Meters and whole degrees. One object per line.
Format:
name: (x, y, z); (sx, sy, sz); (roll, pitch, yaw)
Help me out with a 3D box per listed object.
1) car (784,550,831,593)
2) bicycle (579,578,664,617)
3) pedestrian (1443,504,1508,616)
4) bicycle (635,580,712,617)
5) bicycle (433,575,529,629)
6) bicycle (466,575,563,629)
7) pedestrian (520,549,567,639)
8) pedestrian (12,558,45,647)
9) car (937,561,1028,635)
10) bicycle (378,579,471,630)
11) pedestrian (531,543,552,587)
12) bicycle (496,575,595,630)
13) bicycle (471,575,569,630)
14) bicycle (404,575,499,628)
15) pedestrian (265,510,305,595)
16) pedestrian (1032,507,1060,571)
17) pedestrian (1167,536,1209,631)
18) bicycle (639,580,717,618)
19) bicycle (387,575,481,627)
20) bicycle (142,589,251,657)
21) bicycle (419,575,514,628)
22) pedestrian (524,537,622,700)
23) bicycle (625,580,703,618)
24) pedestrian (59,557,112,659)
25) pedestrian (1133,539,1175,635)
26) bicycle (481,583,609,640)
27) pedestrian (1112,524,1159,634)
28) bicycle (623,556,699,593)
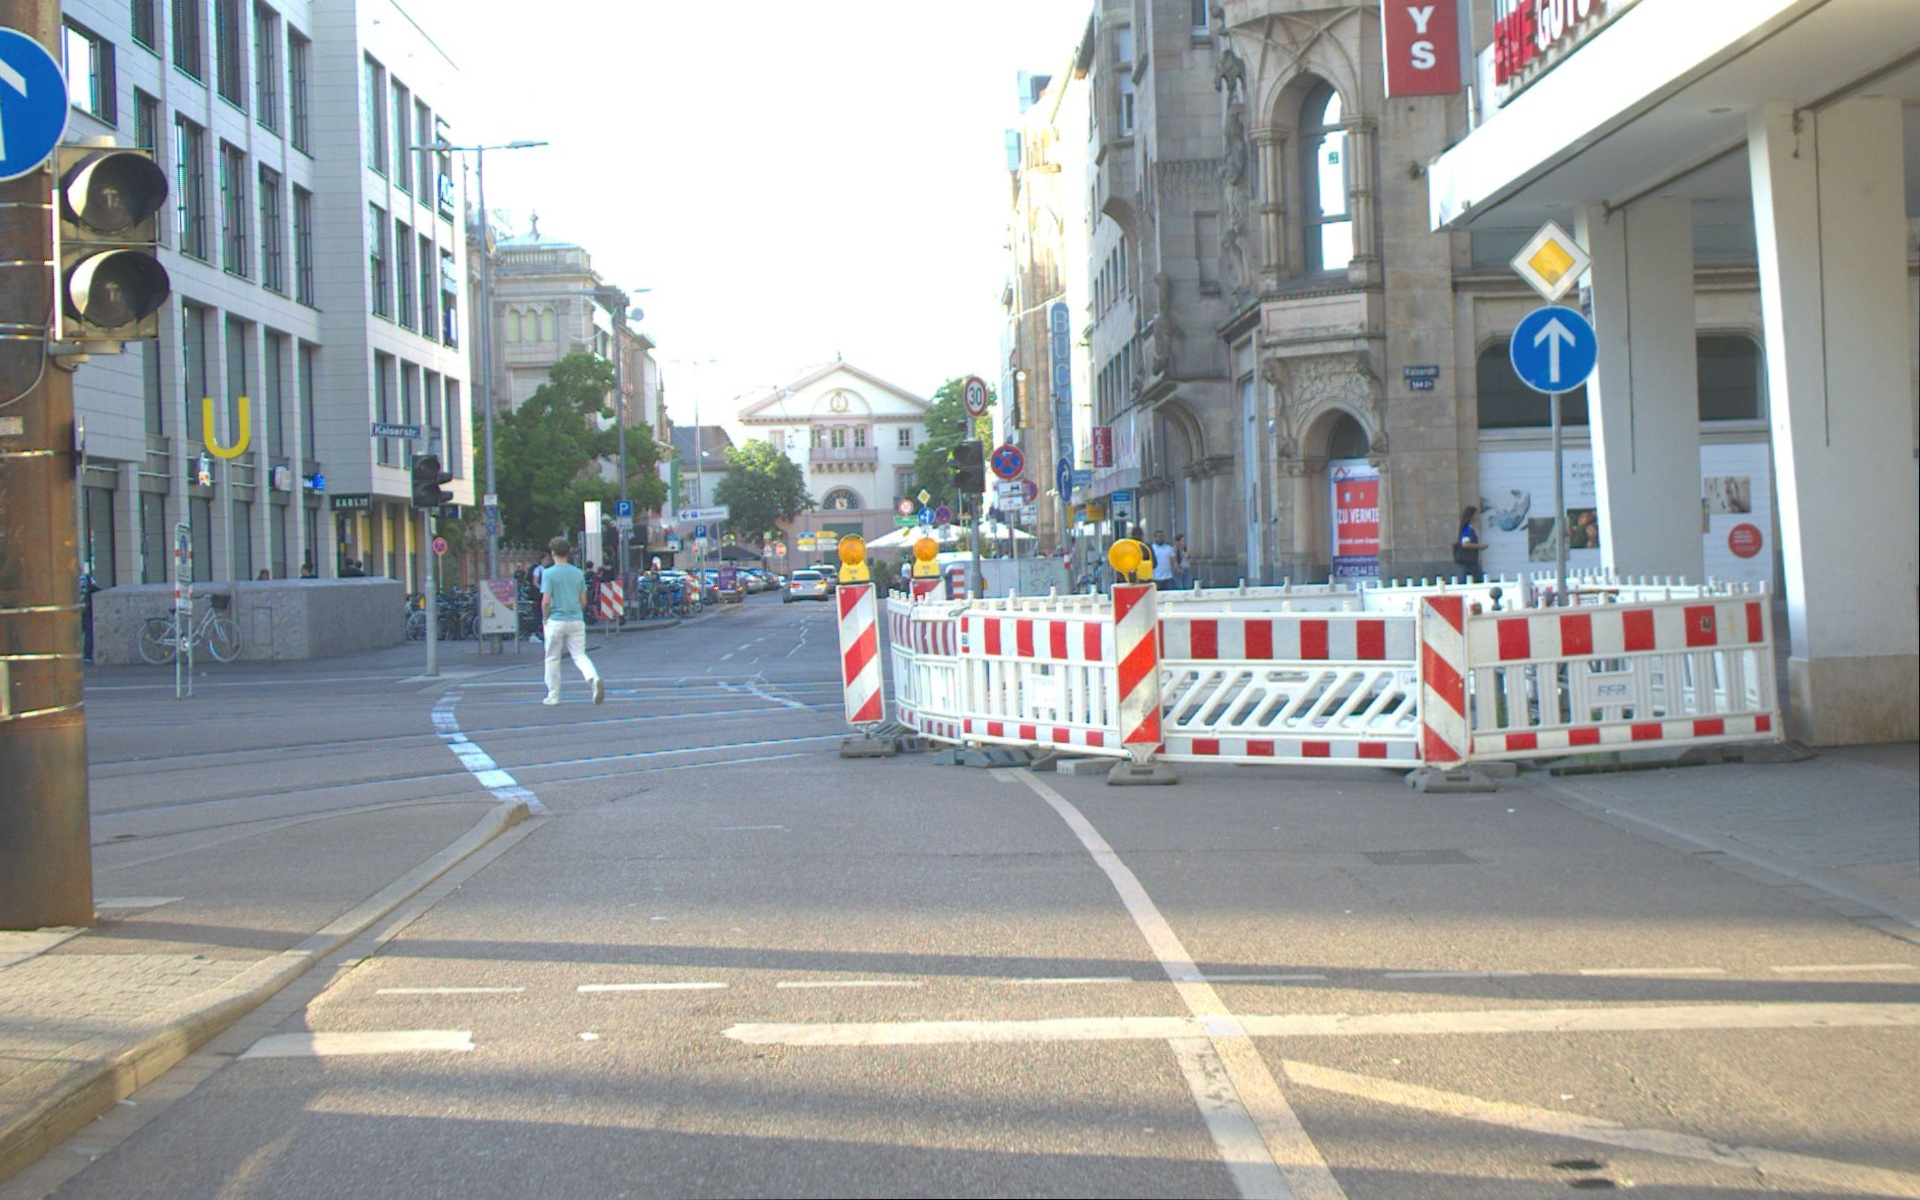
car: (-6.823, -1.279, 153.725); (1.993, 1.897, 4.000); (0, 1, -1)
bicycle: (-8.901, -0.067, 90.487); (2.148, 0.950, 0.640); (-2, 1, 1)
pedestrian: (7.495, -0.582, 49.990); (0.819, 1.605, 0.713); (0, 0, -1)
bicycle: (-8.316, -0.047, 99.936); (2.148, 1.026, 0.640); (-2, 1, 1)
bicycle: (-10.259, 0.038, 73.708); (1.967, 1.118, 0.558); (-1, 1, -29)
bicycle: (-9.439, 0.042, 72.859); (1.967, 1.118, 0.558); (-1, 1, -29)
pedestrian: (-8.096, -0.114, 66.811); (0.834, 1.715, 0.682); (-2, 1, -8)
pedestrian: (-16.015, 0.044, 59.114); (0.390, 1.510, 0.506); (-2, 1, -2)
car: (0.419, -0.058, 67.977); (1.679, 1.419, 3.673); (-1, 1, -1)
bicycle: (-11.918, 0.088, 76.517); (1.967, 1.118, 0.558); (-1, 1, -29)
pedestrian: (-15.573, -1.307, 128.019); (0.679, 1.615, 0.573); (-2, 1, -1)
bicycle: (-8.606, 0.052, 71.398); (1.967, 1.118, 0.558); (-1, 1, -29)
bicycle: (-9.232, 0.048, 72.143); (1.967, 1.118, 0.558); (-1, 1, -29)
bicycle: (-11.083, 0.029, 74.971); (1.967, 1.118, 0.558); (-1, 1, -29)
pedestrian: (-13.476, -0.944, 68.647); (0.680, 1.675, 0.600); (0, 0, -3)
pedestrian: (2.306, -1.640, 91.894); (0.643, 1.684, 0.671); (-2, 1, -2)
pedestrian: (4.105, -0.302, 61.952); (0.625, 1.684, 0.626); (-2, 1, -2)
bicycle: (-8.139, -0.040, 99.204); (2.148, 1.026, 0.640); (-2, 1, 1)
bicycle: (-11.549, 0.026, 75.572); (1.967, 1.118, 0.558); (-1, 1, -29)
bicycle: (-12.660, 0.381, 57.036); (1.696, 1.118, 0.451); (0, 0, 2)
bicycle: (-10.674, 0.033, 74.346); (1.967, 1.118, 0.558); (-1, 1, -29)
pedestrian: (-4.231, 0.196, 37.628); (0.866, 1.755, 0.767); (0, 0, 11)
bicycle: (-8.472, -0.030, 98.411); (2.148, 1.026, 0.640); (-2, 1, 1)
pedestrian: (-15.155, 0.137, 59.581); (0.782, 1.745, 0.600); (0, 0, -3)
pedestrian: (3.465, -0.240, 61.515); (0.625, 1.684, 0.671); (-2, 1, -2)
bicycle: (-9.864, 0.264, 81.770); (2.887, 1.251, 0.804); (-2, 1, -26)
pedestrian: (2.748, -0.330, 53.835); (0.625, 1.684, 0.671); (-2, 1, -2)
bicycle: (-8.867, -0.754, 101.990); (2.148, 1.026, 0.640); (-2, 1, 1)
